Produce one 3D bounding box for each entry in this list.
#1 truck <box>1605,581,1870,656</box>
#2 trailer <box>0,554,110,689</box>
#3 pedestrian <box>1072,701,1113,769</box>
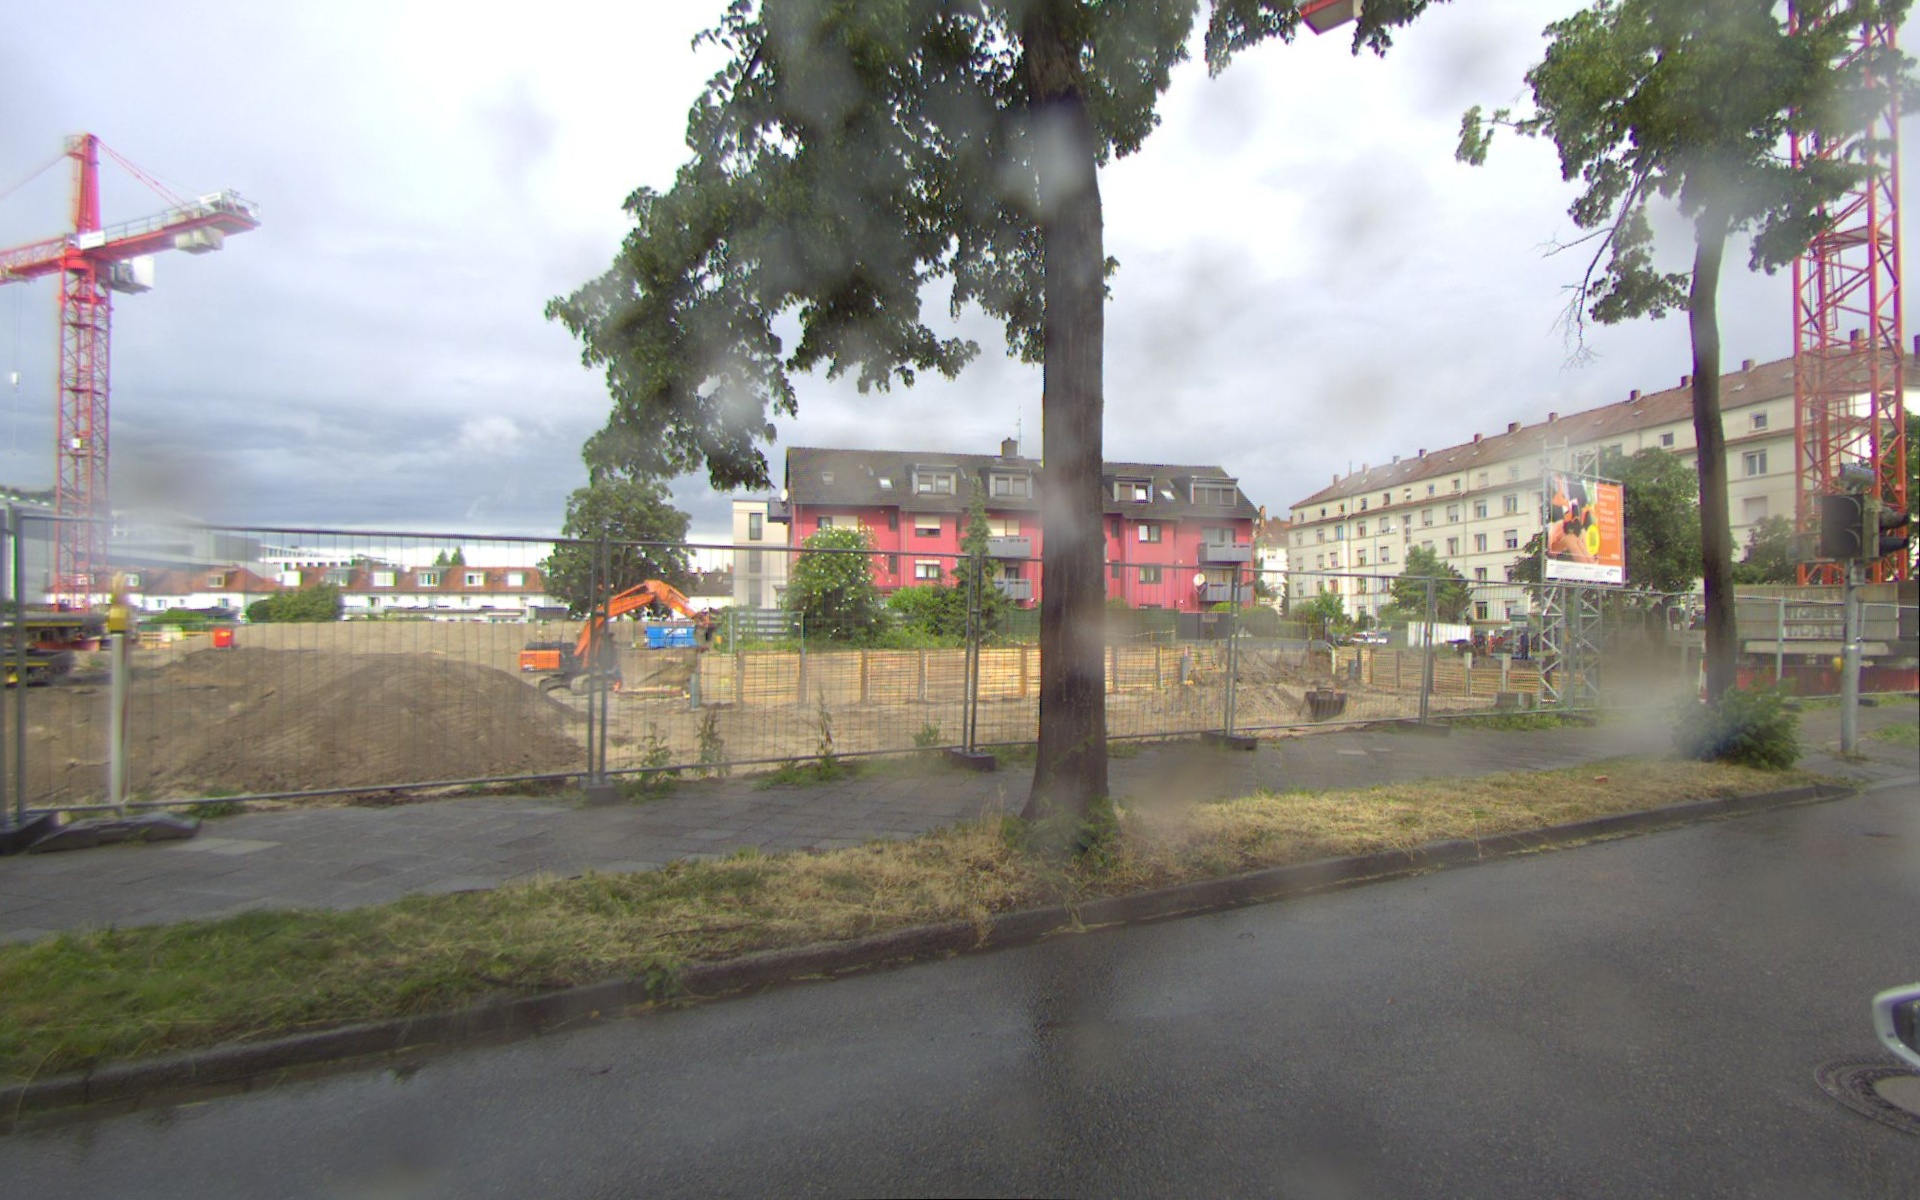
[{"bbox_3d":[37.073,1.001,48.602,3.730,3.226,9.814,0,-2,-16],"label":"truck"},{"bbox_3d":[-29.071,0.340,23.111,14.146,3.276,2.945,2,1,-31],"label":"trailer"},{"bbox_3d":[3.452,3.492,26.165,0.837,1.706,0.585,1,-4,-25],"label":"pedestrian"}]
